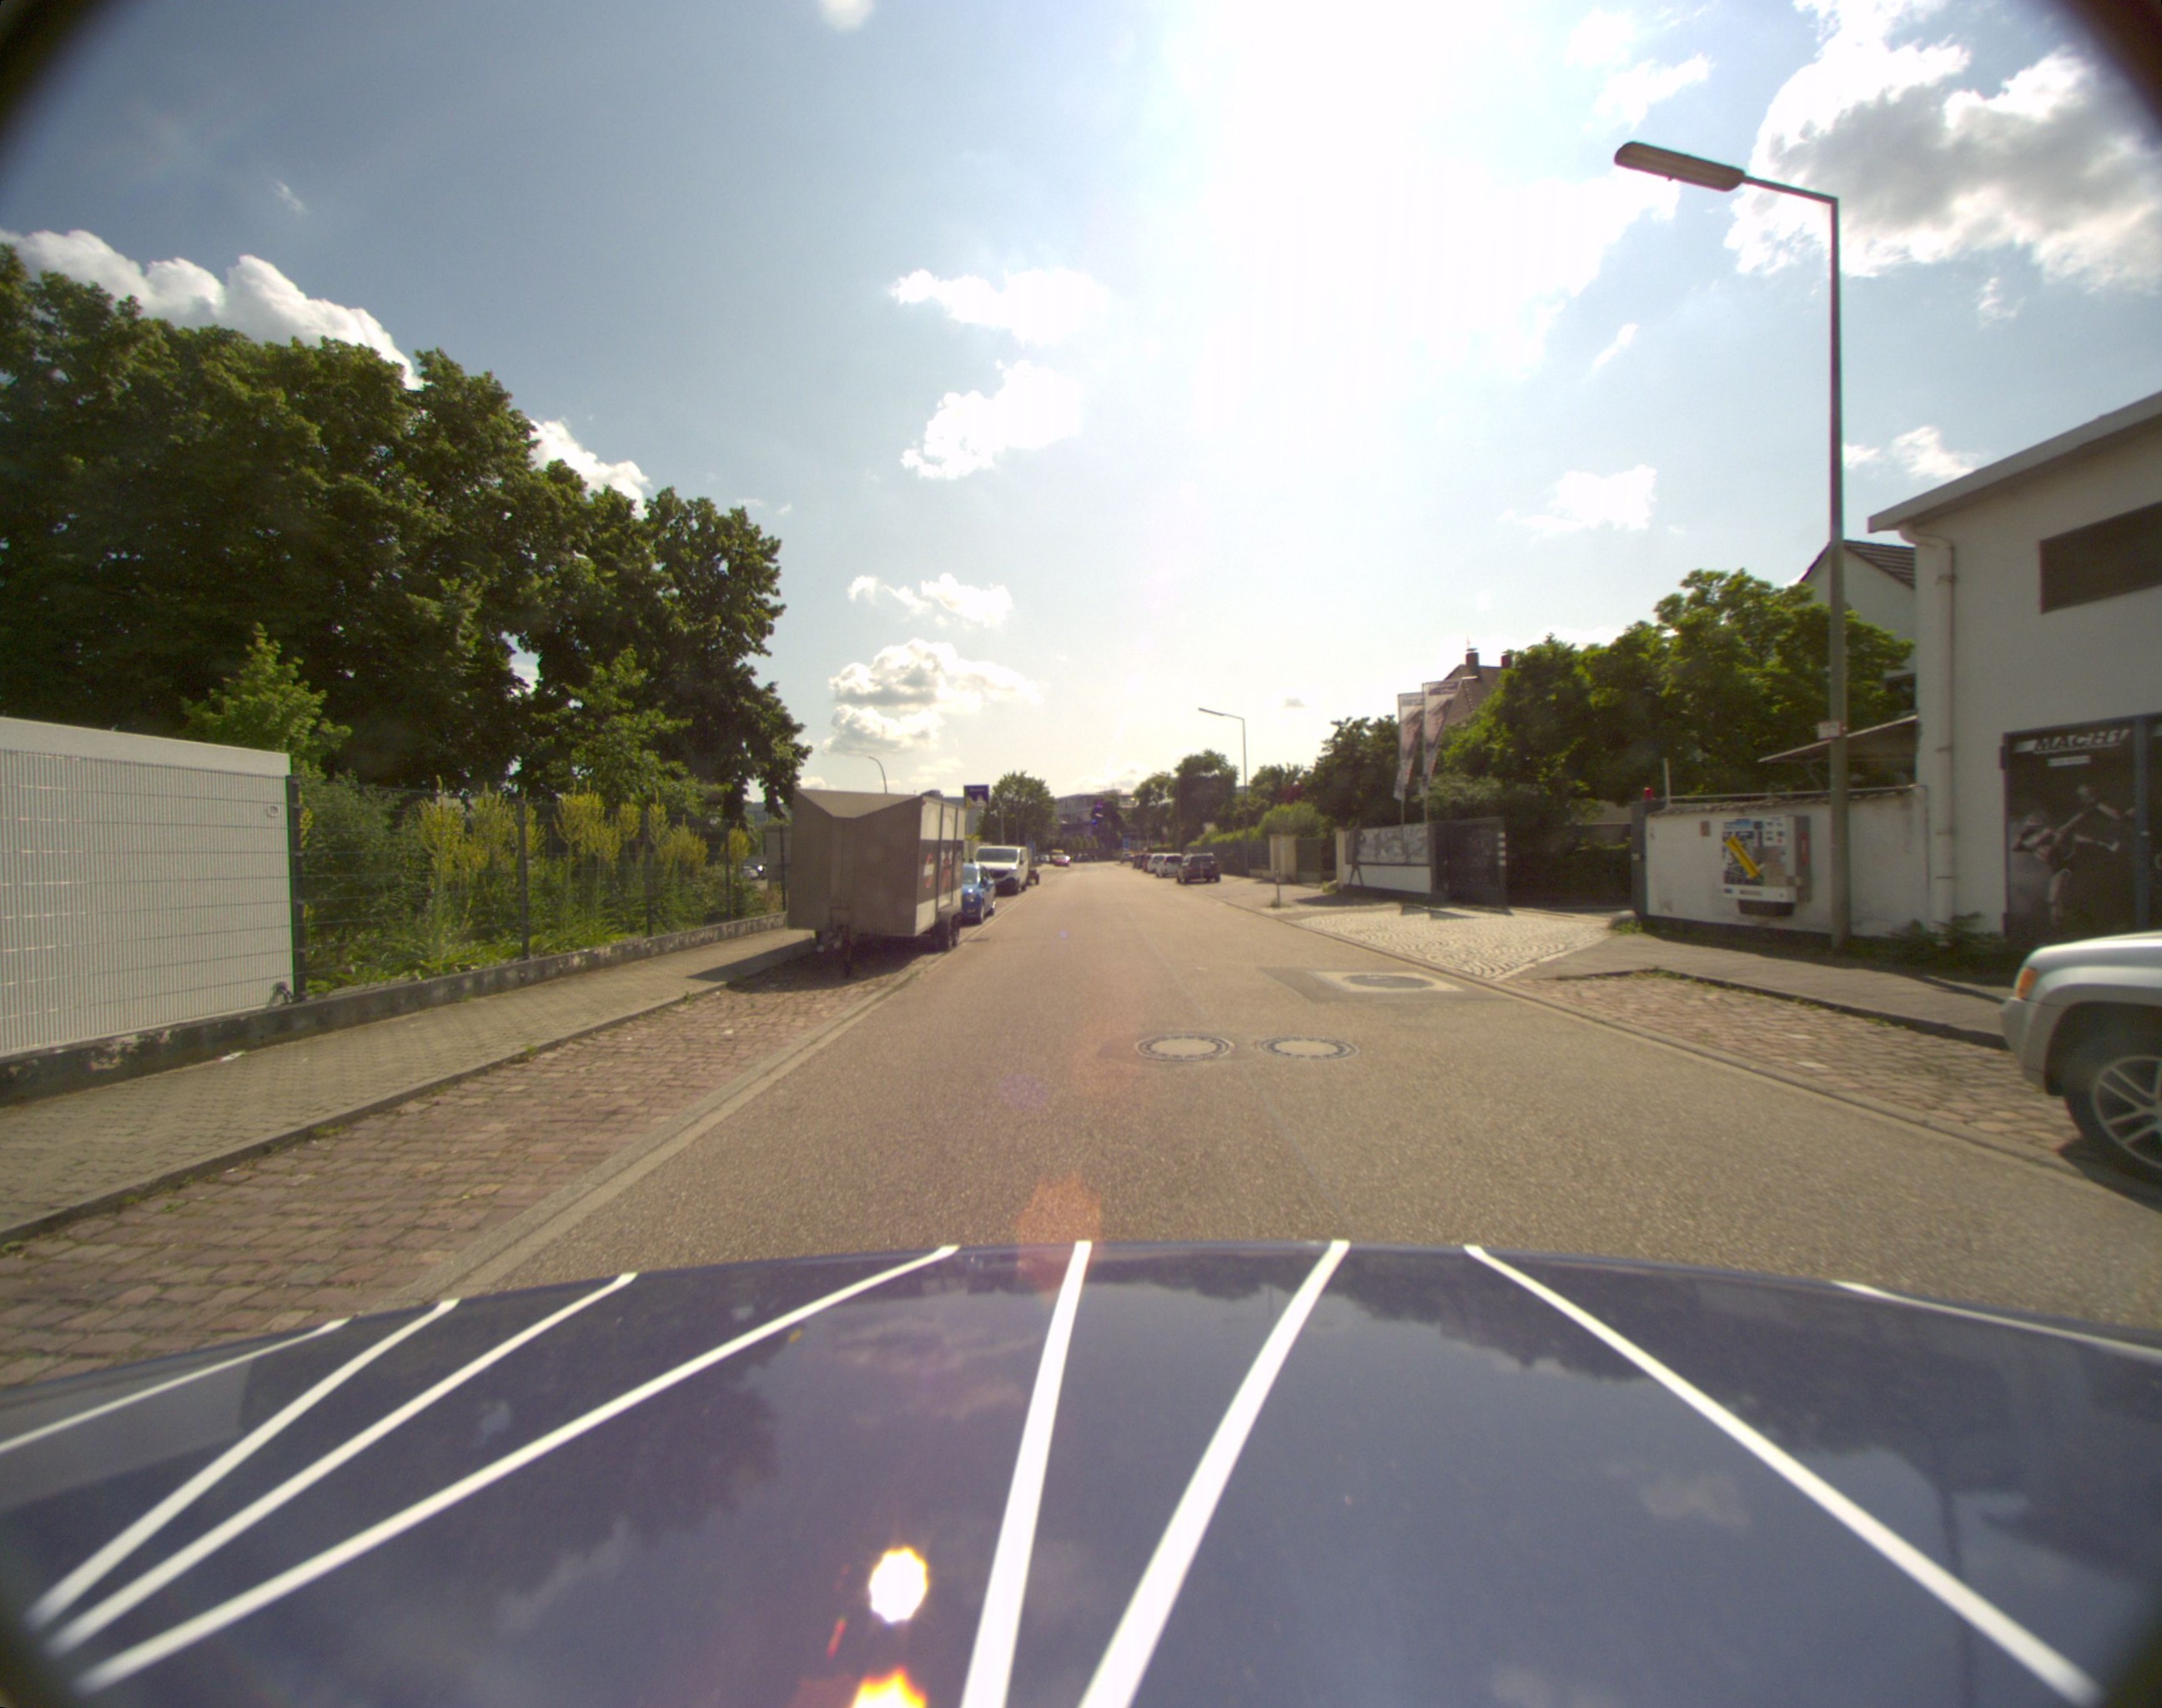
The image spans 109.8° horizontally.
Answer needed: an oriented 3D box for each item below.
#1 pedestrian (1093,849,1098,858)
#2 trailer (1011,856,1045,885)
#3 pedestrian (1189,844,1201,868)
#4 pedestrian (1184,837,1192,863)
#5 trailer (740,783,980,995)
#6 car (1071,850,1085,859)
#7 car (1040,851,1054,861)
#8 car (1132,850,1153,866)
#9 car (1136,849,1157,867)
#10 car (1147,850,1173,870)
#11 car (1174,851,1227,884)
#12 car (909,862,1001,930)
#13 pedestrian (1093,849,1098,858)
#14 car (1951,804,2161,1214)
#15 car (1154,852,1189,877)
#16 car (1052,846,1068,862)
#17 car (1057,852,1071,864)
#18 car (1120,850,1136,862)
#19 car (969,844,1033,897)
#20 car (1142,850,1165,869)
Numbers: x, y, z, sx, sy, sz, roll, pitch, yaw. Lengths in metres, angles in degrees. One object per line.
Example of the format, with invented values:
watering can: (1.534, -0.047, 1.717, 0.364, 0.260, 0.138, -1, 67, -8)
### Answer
pedestrian: (2.865, -0.044, 152.279, 0.831, 1.751, 0.844, -4, 1, -8)
trailer: (-2.967, 0.868, 42.158, 1.754, 1.409, 4.547, 1, 1, -4)
pedestrian: (8.515, 0.147, 56.603, 0.710, 1.791, 0.916, -2, 1, 1)
pedestrian: (7.895, -0.323, 56.269, 0.452, 1.883, 0.677, -2, 1, 1)
trailer: (-3.286, 0.414, 12.971, 2.210, 2.721, 6.220, 1, 1, 0)
car: (-0.570, 0.110, 157.226, 1.782, 1.673, 4.225, -4, 1, -15)
car: (-6.440, 0.317, 142.615, 1.856, 1.755, 5.072, 0, 0, -11)
car: (6.588, 0.383, 81.352, 1.849, 1.499, 4.000, -5, 0, 1)
car: (6.572, 0.359, 76.688, 1.655, 1.636, 3.272, -5, 1, -1)
car: (6.180, 0.453, 59.848, 1.649, 1.469, 4.028, -2, 1, 0)
car: (5.918, 0.645, 38.046, 1.810, 1.410, 4.496, -4, 0, 0)
car: (-3.097, 0.982, 19.442, 1.695, 1.452, 4.069, 1, 1, 0)
pedestrian: (2.917, -0.031, 151.148, 0.845, 1.682, 0.830, -4, 1, -8)
car: (5.403, 0.630, 1.544, 1.795, 1.709, 4.751, -4, 1, 1)
car: (5.975, 0.653, 50.606, 1.624, 1.513, 4.174, -2, 0, -2)
car: (-3.530, -0.043, 124.502, 2.163, 2.450, 6.635, -1, 1, -5)
car: (-2.214, 0.524, 100.167, 1.758, 1.478, 4.224, 2, 0, 1)
car: (6.915, 0.263, 111.209, 1.762, 1.565, 4.475, -3, 1, -3)
car: (-3.273, 0.627, 32.146, 1.998, 2.002, 5.649, -1, 1, 1)
car: (6.146, 0.456, 64.567, 1.670, 1.458, 3.743, -3, 1, 2)
